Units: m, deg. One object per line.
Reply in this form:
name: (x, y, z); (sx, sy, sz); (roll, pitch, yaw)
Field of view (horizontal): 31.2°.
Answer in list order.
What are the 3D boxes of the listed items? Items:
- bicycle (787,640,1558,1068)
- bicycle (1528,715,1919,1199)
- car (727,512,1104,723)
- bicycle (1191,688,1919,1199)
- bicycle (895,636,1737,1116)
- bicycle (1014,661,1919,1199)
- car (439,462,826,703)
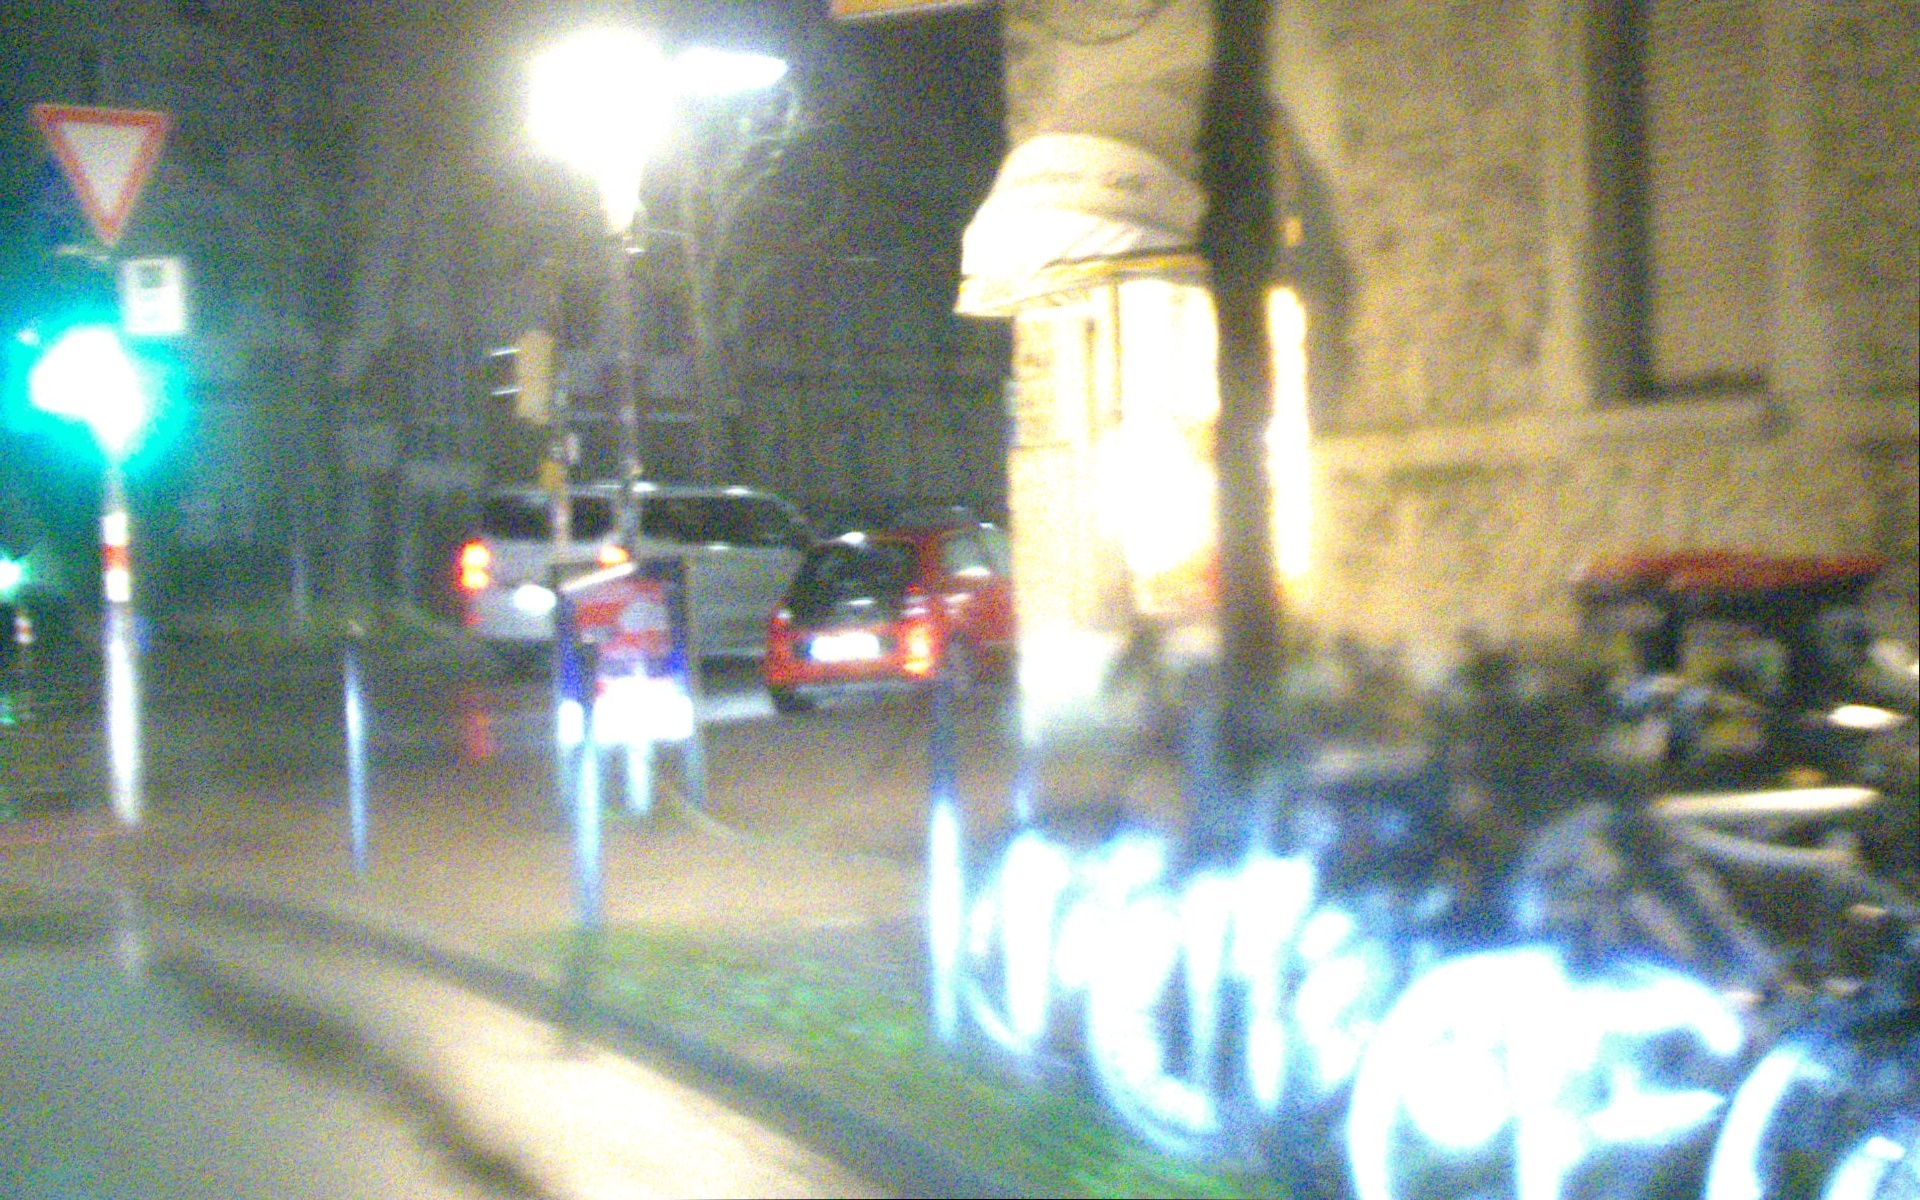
bicycle: (0.577, 0.658, 9.394); (1.968, 1.003, 0.642); (-2, 1, -16)
bicycle: (1.831, 0.679, 4.678); (1.968, 1.061, 0.642); (-2, 1, -16)
car: (-0.308, 0.111, 29.196); (1.649, 1.519, 3.576); (-5, 0, 26)
bicycle: (1.457, 0.685, 5.994); (1.968, 1.003, 0.642); (-2, 1, -16)
bicycle: (0.888, 0.652, 8.617); (1.968, 1.031, 0.642); (-2, 1, -16)
bicycle: (1.170, 0.685, 7.432); (1.968, 1.003, 0.642); (-2, 1, -16)
car: (-3.447, -0.250, 37.548); (2.219, 2.433, 5.380); (0, 2, 18)
